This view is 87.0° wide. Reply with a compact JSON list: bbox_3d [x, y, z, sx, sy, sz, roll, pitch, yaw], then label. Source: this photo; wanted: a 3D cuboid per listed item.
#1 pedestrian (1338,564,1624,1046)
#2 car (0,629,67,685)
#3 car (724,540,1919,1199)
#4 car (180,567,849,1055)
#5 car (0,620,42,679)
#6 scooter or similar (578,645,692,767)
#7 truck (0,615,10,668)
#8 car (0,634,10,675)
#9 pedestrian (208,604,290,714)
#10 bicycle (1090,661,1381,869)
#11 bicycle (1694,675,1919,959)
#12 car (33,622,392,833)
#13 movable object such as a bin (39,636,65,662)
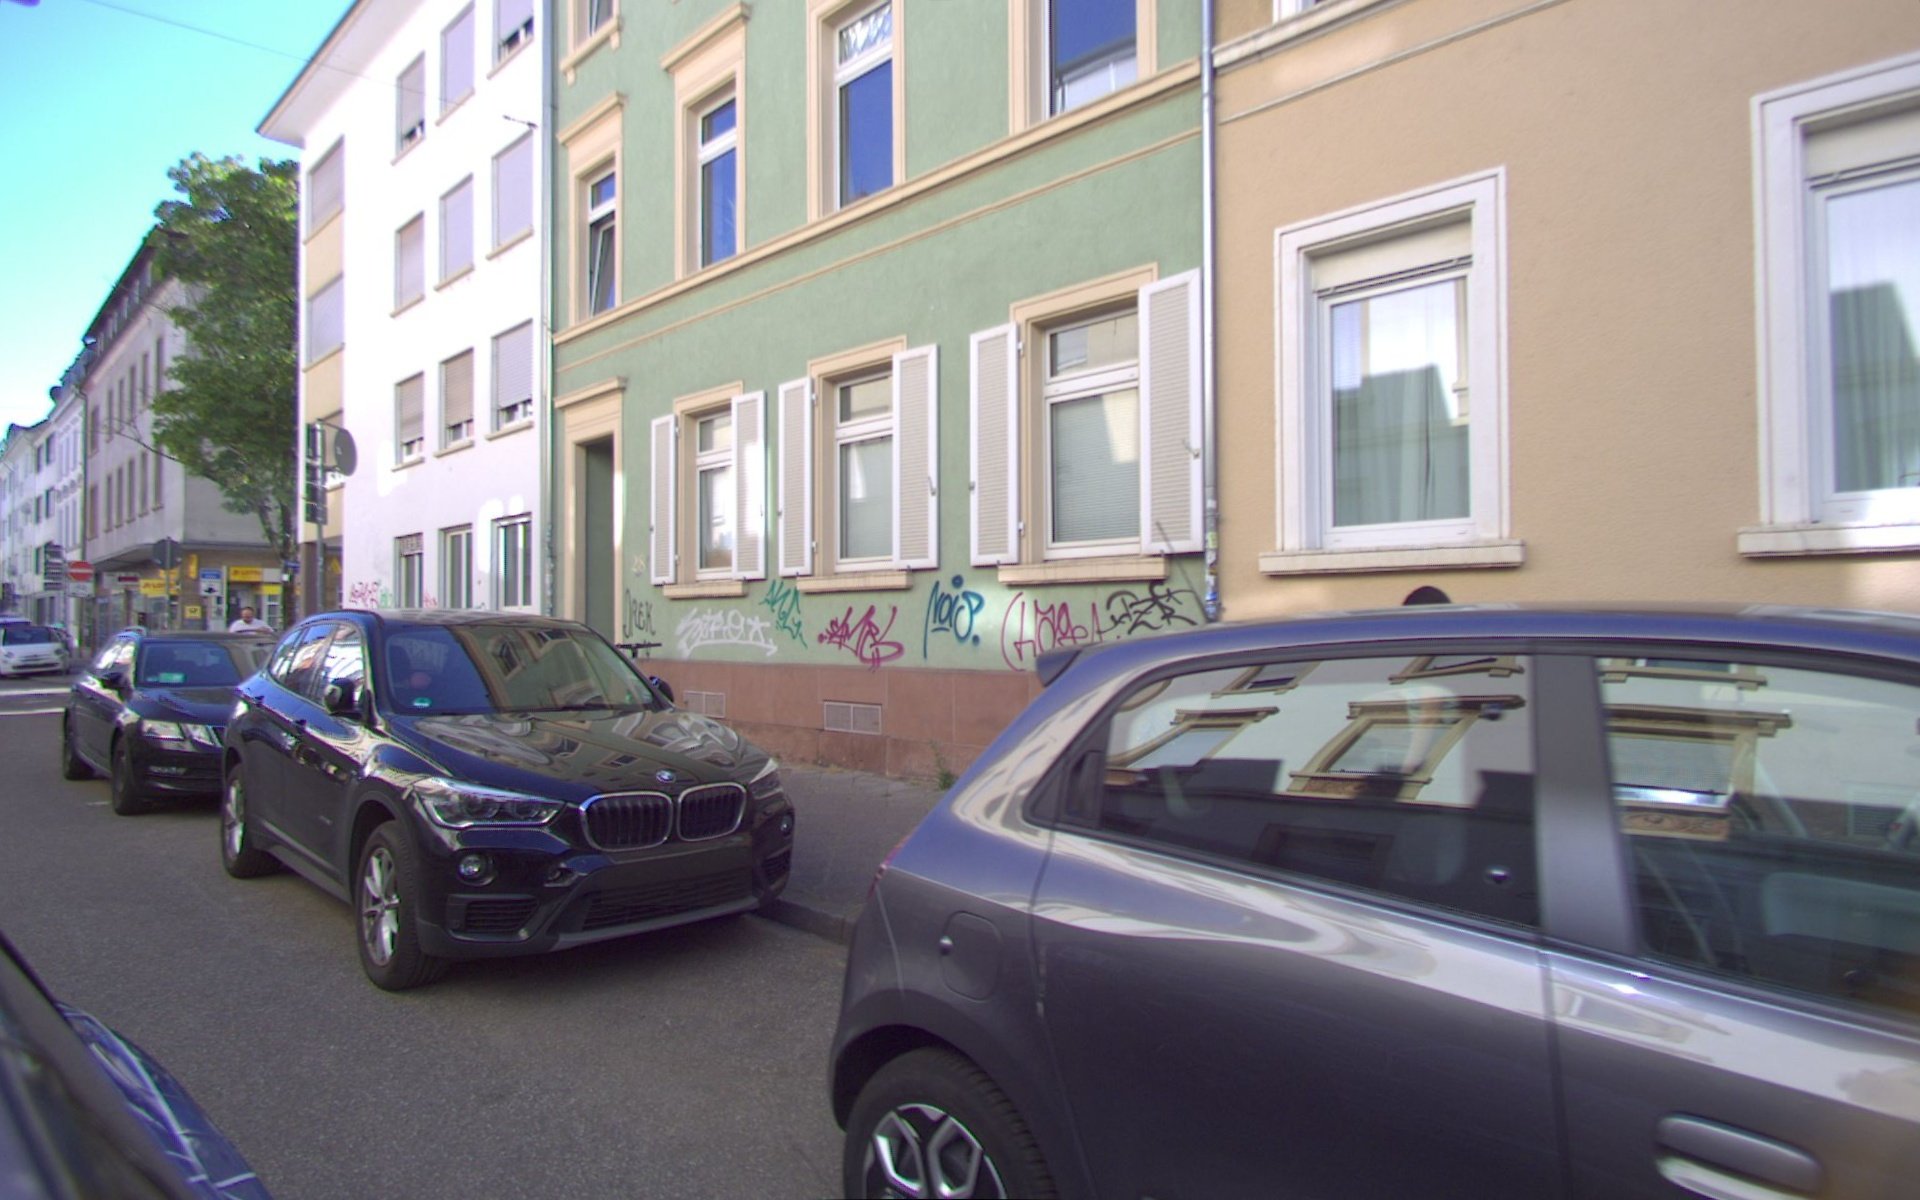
[{"bbox_3d":[2.166,0.737,4.210,0.883,1.727,0.756,-1,0,42],"label":"pedestrian"},{"bbox_3d":[-28.028,1.659,30.259,3.722,1.572,1.649,-2,-2,43],"label":"car"},{"bbox_3d":[1.453,0.738,1.659,3.976,1.565,1.598,-2,-2,42],"label":"car"},{"bbox_3d":[-2.775,0.799,5.624,4.603,1.627,1.725,-2,-4,43],"label":"car"},{"bbox_3d":[-32.735,1.670,34.326,4.807,1.913,1.748,-2,-4,41],"label":"car"},{"bbox_3d":[-3.556,1.101,11.000,0.448,1.190,1.692,2,-2,-44],"label":"scooter or similar"},{"bbox_3d":[-45.509,1.831,46.095,6.337,2.326,2.144,-1,-3,37],"label":"truck"},{"bbox_3d":[-37.314,2.033,38.195,4.487,1.535,1.647,-2,-4,42],"label":"car"},{"bbox_3d":[-12.541,1.008,17.846,1.245,1.846,0.901,-1,-2,42],"label":"pedestrian"},{"bbox_3d":[1.620,0.938,6.301,0.356,1.036,1.921,1,-2,-38],"label":"bicycle"},{"bbox_3d":[4.044,0.872,3.989,1.835,1.064,0.398,-1,-2,40],"label":"bicycle"},{"bbox_3d":[-7.174,1.002,9.489,4.850,1.500,1.695,-1,-5,42],"label":"car"},{"bbox_3d":[-41.914,2.248,46.710,0.685,1.199,0.750,-1,-2,38],"label":"movable object such as a bin"}]
